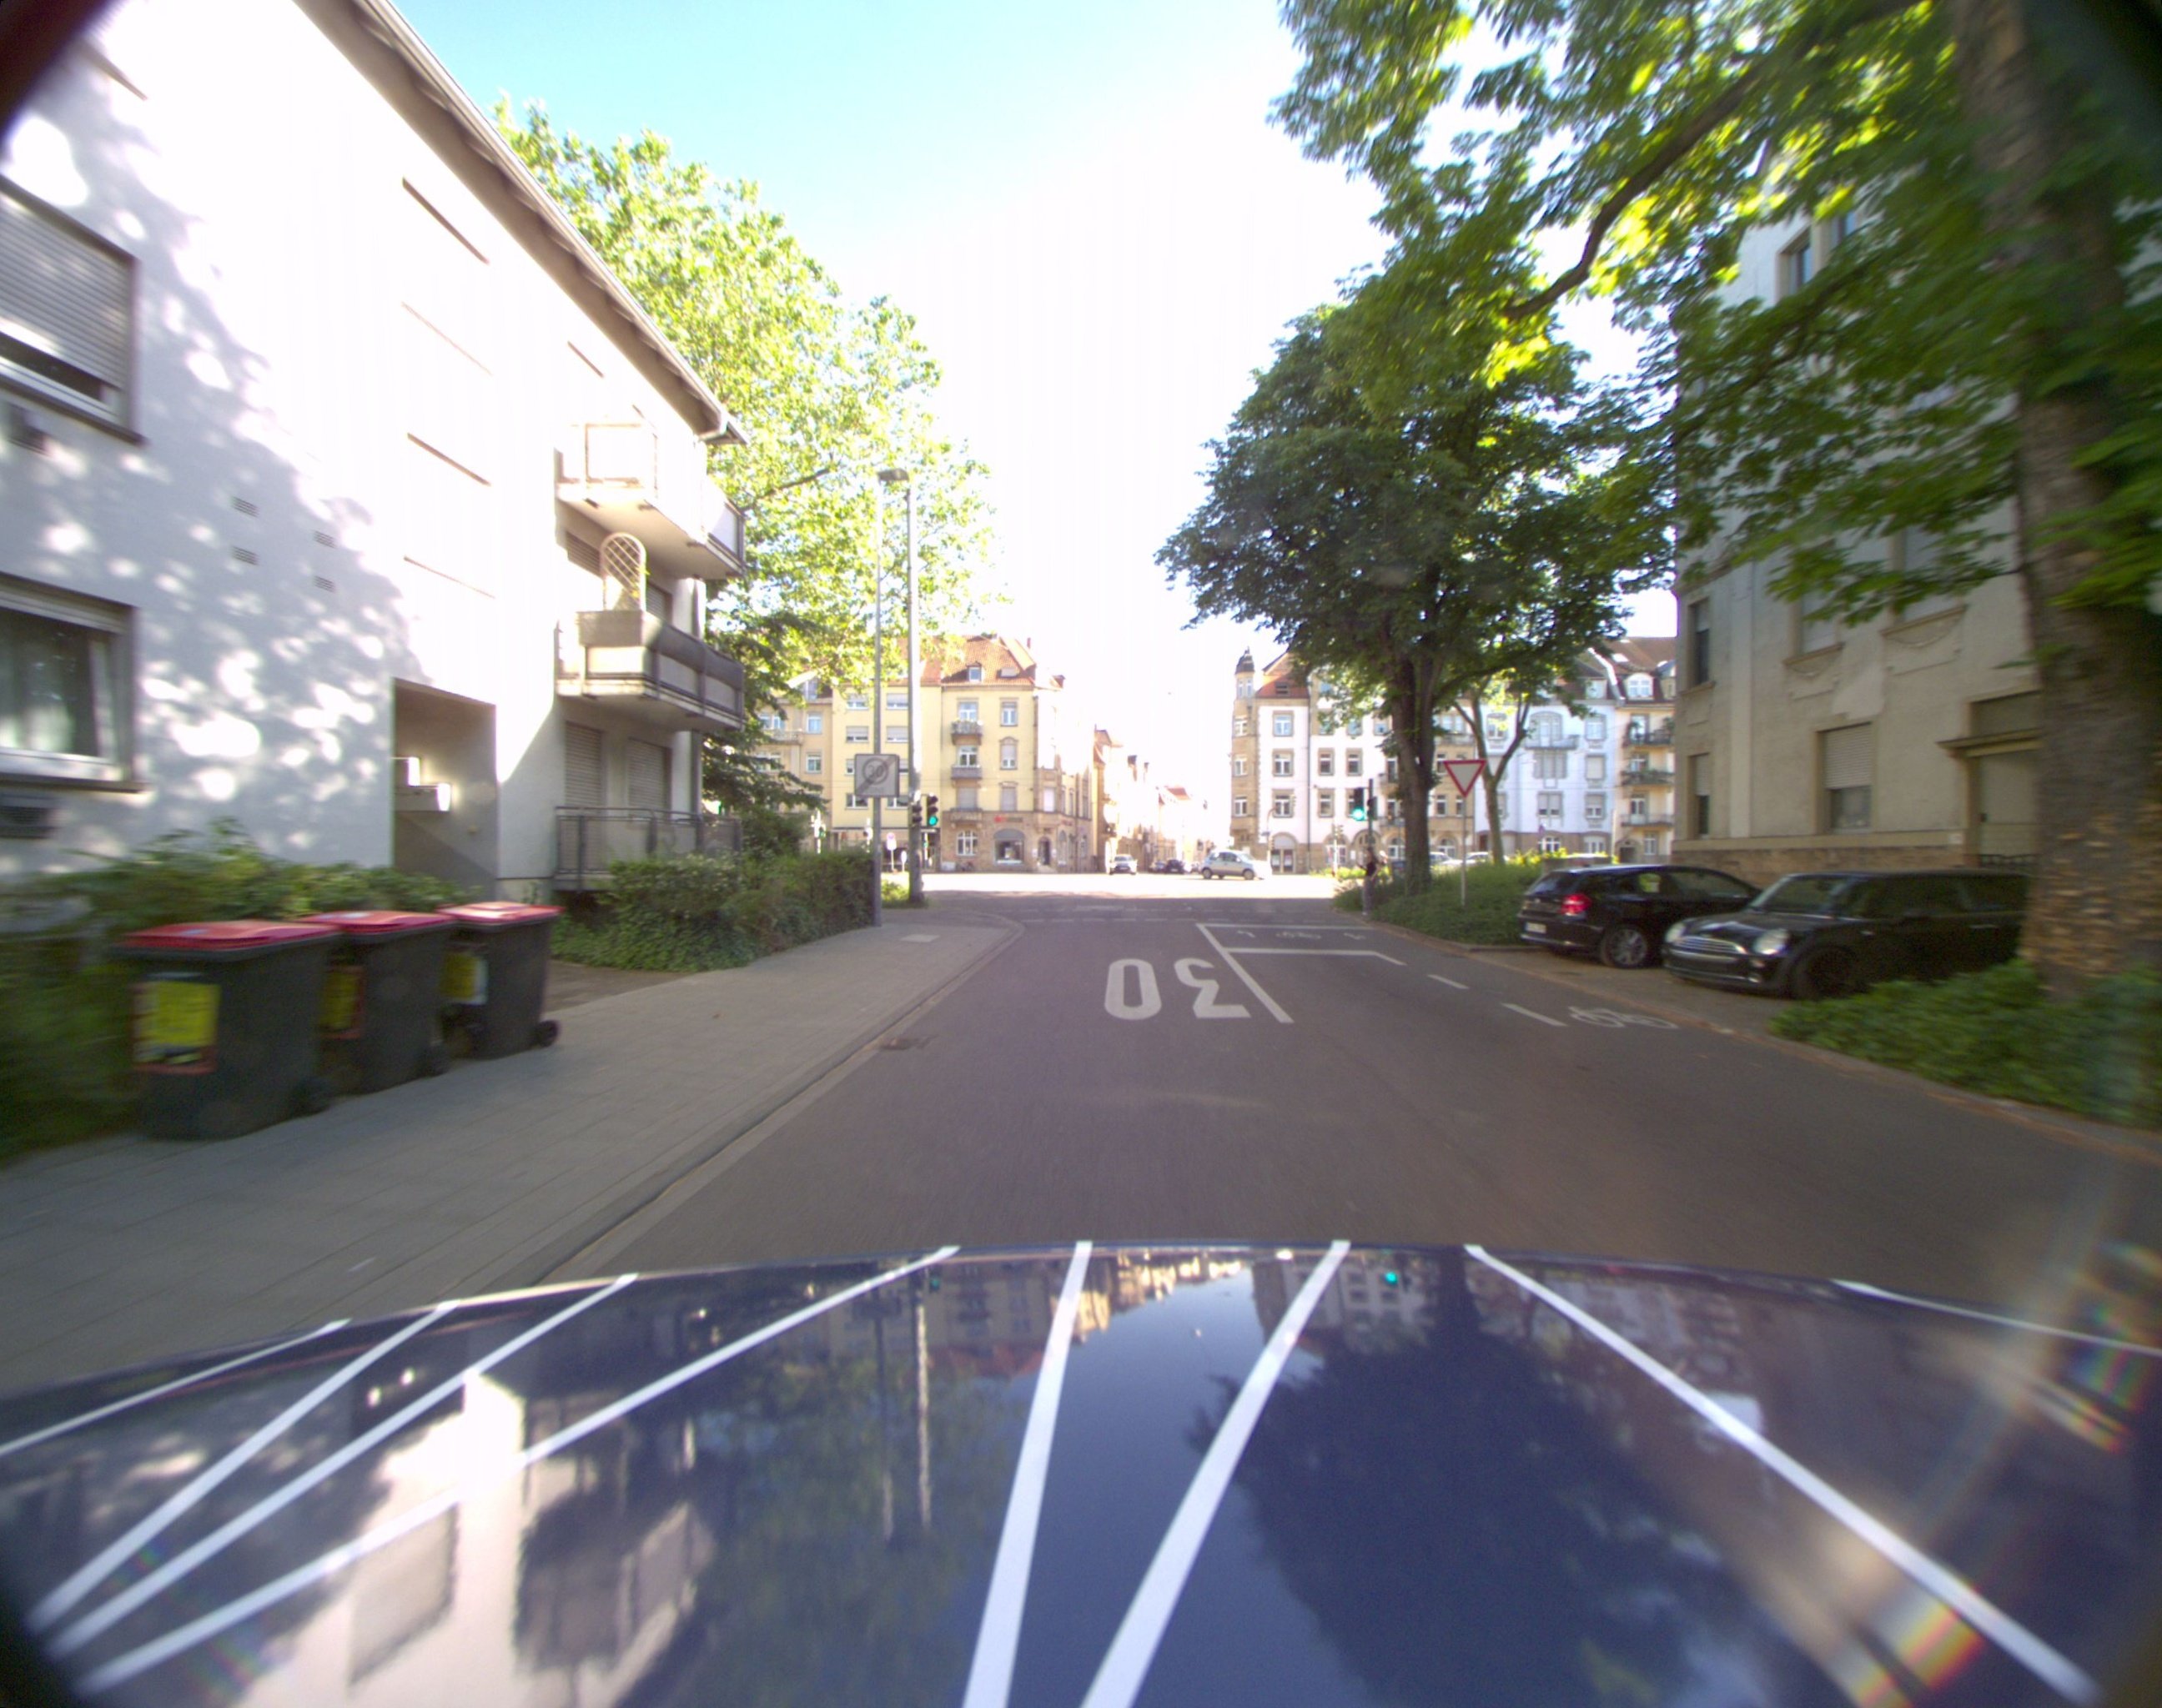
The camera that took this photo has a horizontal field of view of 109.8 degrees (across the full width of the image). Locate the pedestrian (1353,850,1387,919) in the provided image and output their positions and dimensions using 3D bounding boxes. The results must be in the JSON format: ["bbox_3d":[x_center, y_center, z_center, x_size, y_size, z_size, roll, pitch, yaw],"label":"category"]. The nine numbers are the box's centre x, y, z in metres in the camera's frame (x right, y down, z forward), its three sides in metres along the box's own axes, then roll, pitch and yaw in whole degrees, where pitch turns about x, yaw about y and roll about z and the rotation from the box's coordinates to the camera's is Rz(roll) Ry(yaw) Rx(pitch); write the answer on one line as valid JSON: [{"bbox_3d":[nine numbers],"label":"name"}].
[{"bbox_3d":[7.111,0.740,18.722,0.694,1.672,0.681,0,1,15],"label":"pedestrian"}]

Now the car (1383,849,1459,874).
[{"bbox_3d":[23.083,0.521,51.699,4.236,1.634,2.001,0,-1,3],"label":"car"}]

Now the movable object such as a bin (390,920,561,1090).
[{"bbox_3d":[-4.281,1.038,5.417,0.598,1.038,0.707,4,1,2],"label":"movable object such as a bin"}]

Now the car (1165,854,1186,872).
[{"bbox_3d":[8.201,0.751,66.172,1.664,1.455,3.810,0,0,5],"label":"car"}]

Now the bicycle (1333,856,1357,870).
[{"bbox_3d":[22.126,0.754,63.720,1.809,1.127,0.610,0,0,1],"label":"bicycle"}]

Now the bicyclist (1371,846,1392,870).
[{"bbox_3d":[19.335,0.263,48.918,1.073,1.533,0.687,0,1,3],"label":"bicyclist"}]

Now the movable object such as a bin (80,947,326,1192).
[{"bbox_3d":[-4.410,1.043,3.855,0.484,1.038,0.618,4,1,2],"label":"movable object such as a bin"}]

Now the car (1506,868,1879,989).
[{"bbox_3d":[8.463,0.985,10.801,3.891,1.467,1.615,1,1,4],"label":"car"}]

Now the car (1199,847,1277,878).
[{"bbox_3d":[8.183,0.422,39.739,3.605,1.559,1.656,0,0,41],"label":"car"}]

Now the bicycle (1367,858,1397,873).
[{"bbox_3d":[19.401,0.752,48.923,1.635,0.919,0.795,0,0,3],"label":"bicycle"}]

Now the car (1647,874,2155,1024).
[{"bbox_3d":[8.701,0.951,8.292,3.893,1.407,1.615,0,0,-2],"label":"car"}]

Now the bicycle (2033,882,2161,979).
[{"bbox_3d":[13.516,0.955,9.615,0.515,1.147,1.983,-2,-1,4],"label":"bicycle"}]

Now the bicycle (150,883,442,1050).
[{"bbox_3d":[-6.332,0.860,6.270,1.582,1.179,0.642,3,0,-40],"label":"bicycle"}]

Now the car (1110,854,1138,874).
[{"bbox_3d":[2.965,0.679,53.377,1.863,1.346,4.217,0,0,2],"label":"car"}]

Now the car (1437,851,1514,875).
[{"bbox_3d":[25.245,0.570,48.699,4.016,1.521,1.766,0,0,3],"label":"car"}]

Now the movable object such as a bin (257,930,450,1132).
[{"bbox_3d":[-4.370,1.030,4.607,0.484,1.038,0.657,4,1,2],"label":"movable object such as a bin"}]

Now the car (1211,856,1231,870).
[{"bbox_3d":[18.087,1.104,97.929,1.915,1.649,4.352,-3,-1,16],"label":"car"}]

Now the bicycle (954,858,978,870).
[{"bbox_3d":[-9.870,0.883,65.136,1.951,0.970,0.516,0,3,2],"label":"bicycle"}]
